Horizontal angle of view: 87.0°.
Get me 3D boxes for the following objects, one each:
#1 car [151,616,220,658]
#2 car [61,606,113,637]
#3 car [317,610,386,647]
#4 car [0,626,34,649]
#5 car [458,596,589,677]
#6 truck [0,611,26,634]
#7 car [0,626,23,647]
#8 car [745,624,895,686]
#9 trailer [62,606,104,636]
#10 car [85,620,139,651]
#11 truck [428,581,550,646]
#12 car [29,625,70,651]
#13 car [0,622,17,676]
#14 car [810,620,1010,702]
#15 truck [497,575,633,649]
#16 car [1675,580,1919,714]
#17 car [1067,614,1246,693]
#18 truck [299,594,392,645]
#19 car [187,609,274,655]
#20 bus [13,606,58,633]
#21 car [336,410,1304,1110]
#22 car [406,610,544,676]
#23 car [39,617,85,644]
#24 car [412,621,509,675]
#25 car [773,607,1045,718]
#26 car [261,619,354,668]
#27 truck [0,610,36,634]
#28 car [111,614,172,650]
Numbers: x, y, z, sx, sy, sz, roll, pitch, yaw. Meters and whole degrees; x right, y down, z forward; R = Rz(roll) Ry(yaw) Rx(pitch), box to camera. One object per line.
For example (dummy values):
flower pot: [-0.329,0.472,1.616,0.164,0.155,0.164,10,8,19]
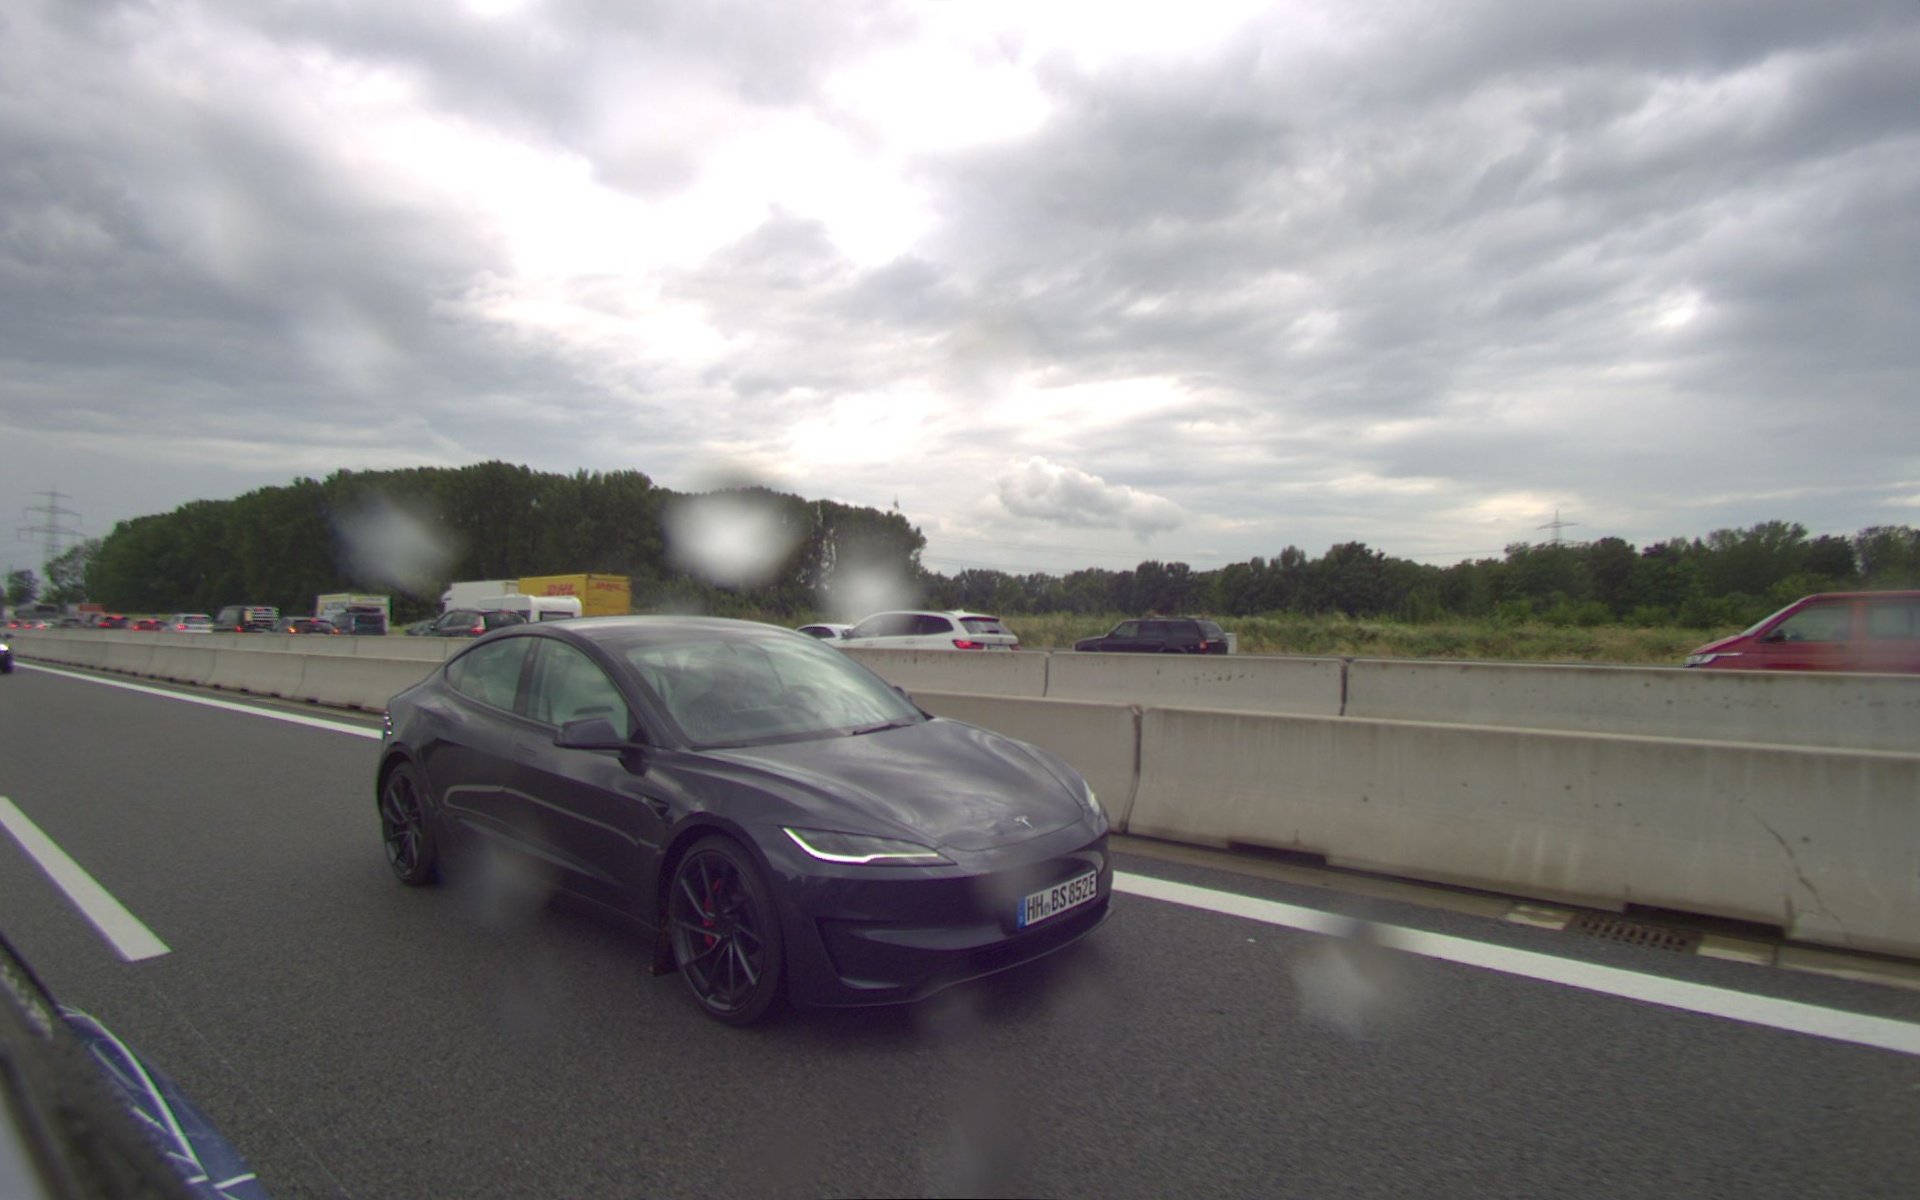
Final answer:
car: [-39.900,1.874,52.129,4.422,2.029,1.973,-1,-1,41]
car: [-61.241,1.513,70.961,5.415,2.029,1.973,-1,-1,41]
car: [-35.476,1.645,58.948,5.095,2.029,1.973,-1,-1,41]
car: [-87.127,3.460,93.400,4.693,2.029,1.973,-1,-1,41]
car: [-19.253,1.538,44.431,6.557,3.302,2.633,-1,-1,40]
truck: [-159.036,3.776,169.456,6.314,3.740,3.118,-1,-1,41]
car: [-91.972,3.513,97.477,4.693,1.982,1.973,-1,-1,41]
car: [-4.341,1.623,30.967,4.696,1.728,1.973,-1,-1,41]
trailer: [-114.176,2.714,131.680,9.155,3.791,2.831,-1,-2,41]
car: [-54.232,2.245,64.681,4.501,1.918,1.973,-1,-1,41]
truck: [-28.472,0.836,60.869,10.308,3.640,2.848,-1,-1,42]
car: [-76.032,3.148,84.473,4.969,2.029,1.973,-1,-1,41]
car: [-27.466,1.354,27.826,3.999,1.426,1.897,-2,-2,42]
car: [-1.273,1.376,24.094,4.696,1.728,1.973,-1,-1,41]
truck: [-21.434,0.671,54.562,9.577,3.640,2.848,-1,-1,42]
car: [14.076,0.668,15.074,5.390,1.887,1.972,-1,-1,42]
car: [5.415,1.427,28.235,4.540,2.029,1.973,-1,-1,41]
truck: [-42.983,1.379,70.665,9.196,3.315,2.880,-1,-1,41]
car: [-33.776,1.459,46.774,5.754,2.029,1.973,-1,-1,40]
bus: [-120.224,2.555,131.536,13.989,3.411,2.659,-1,-1,41]
car: [-1.177,0.465,5.119,5.160,1.834,1.973,-1,-1,41]
car: [-14.361,1.228,29.860,4.670,1.795,1.973,-1,-1,41]
car: [-68.809,2.319,77.533,5.415,2.029,1.973,-1,-1,41]
car: [-19.086,1.793,38.608,3.998,1.918,1.973,-1,-1,41]
car: [-1.034,1.021,18.141,4.869,1.728,1.973,-1,-1,41]
car: [-25.199,1.650,39.035,3.998,1.763,1.973,-1,-1,41]
truck: [-154.138,3.617,165.319,13.289,3.774,3.117,-1,-1,40]
car: [-47.645,1.834,58.896,4.684,2.029,1.973,-1,-1,41]
